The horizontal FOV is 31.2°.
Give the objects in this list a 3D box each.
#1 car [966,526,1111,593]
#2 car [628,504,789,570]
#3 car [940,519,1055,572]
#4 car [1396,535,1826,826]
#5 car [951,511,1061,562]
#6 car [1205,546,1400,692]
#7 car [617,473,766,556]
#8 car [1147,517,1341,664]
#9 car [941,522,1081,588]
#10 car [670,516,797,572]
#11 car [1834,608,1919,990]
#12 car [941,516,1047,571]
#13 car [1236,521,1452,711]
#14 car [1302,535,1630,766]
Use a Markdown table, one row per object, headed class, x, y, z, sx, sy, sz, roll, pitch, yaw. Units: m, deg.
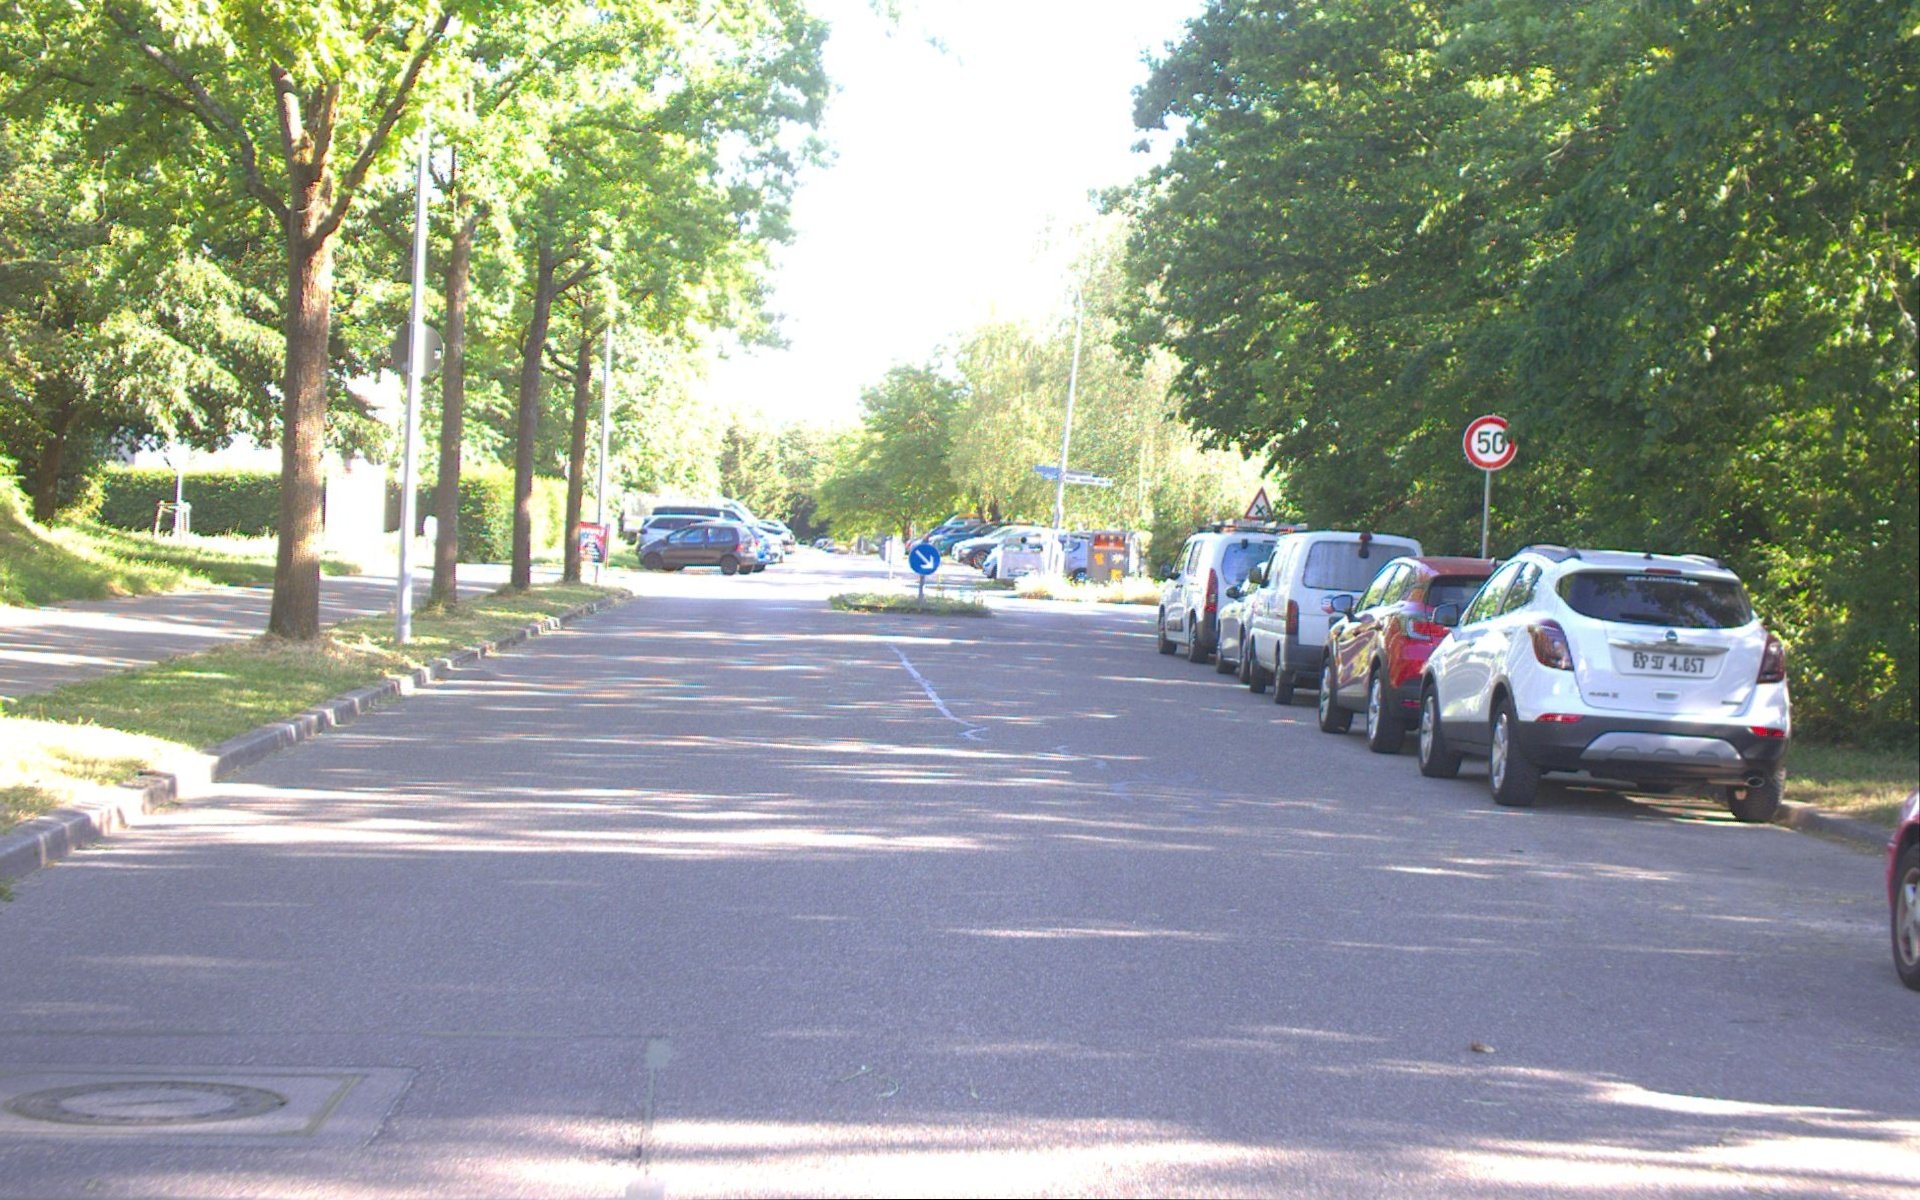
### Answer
| class | x | y | z | sx | sy | sz | roll | pitch | yaw |
| --- | --- | --- | --- | --- | --- | --- | --- | --- | --- |
| car | 2.220 | -1.146 | 96.640 | 3.839 | 1.571 | 1.688 | 5 | 1 | 5 |
| car | -7.366 | -1.848 | 100.943 | 4.319 | 1.571 | 2.046 | 5 | 1 | 5 |
| car | 1.333 | -1.928 | 122.055 | 3.839 | 1.571 | 1.688 | 5 | 1 | 5 |
| car | 4.201 | 0.453 | 22.847 | 1.775 | 1.616 | 4.065 | 4 | 1 | -3 |
| car | 1.677 | -2.315 | 125.188 | 3.839 | 1.571 | 1.688 | 5 | 1 | 3 |
| car | 4.042 | 0.181 | 41.127 | 1.691 | 1.507 | 4.207 | 4 | 1 | -2 |
| car | -9.872 | -3.126 | 126.128 | 5.199 | 2.612 | 2.294 | 4 | 1 | -6 |
| car | 3.843 | -0.176 | 47.266 | 1.790 | 1.779 | 4.558 | 4 | 1 | -5 |
| car | 1.480 | -1.302 | 99.447 | 3.839 | 1.571 | 1.688 | 5 | 1 | 5 |
| car | -7.702 | -1.924 | 117.247 | 4.107 | 1.571 | 1.958 | 5 | 1 | 0 |
| car | 4.409 | 0.823 | 11.532 | 1.661 | 1.371 | 4.155 | 4 | 1 | -2 |
| car | 1.313 | -2.160 | 131.388 | 3.839 | 1.789 | 1.688 | 5 | 1 | 3 |
| car | 3.967 | 0.126 | 36.030 | 1.623 | 1.767 | 3.669 | 4 | 1 | -2 |
| car | 4.049 | 0.347 | 28.167 | 1.775 | 1.616 | 4.065 | 4 | 1 | -3 |
